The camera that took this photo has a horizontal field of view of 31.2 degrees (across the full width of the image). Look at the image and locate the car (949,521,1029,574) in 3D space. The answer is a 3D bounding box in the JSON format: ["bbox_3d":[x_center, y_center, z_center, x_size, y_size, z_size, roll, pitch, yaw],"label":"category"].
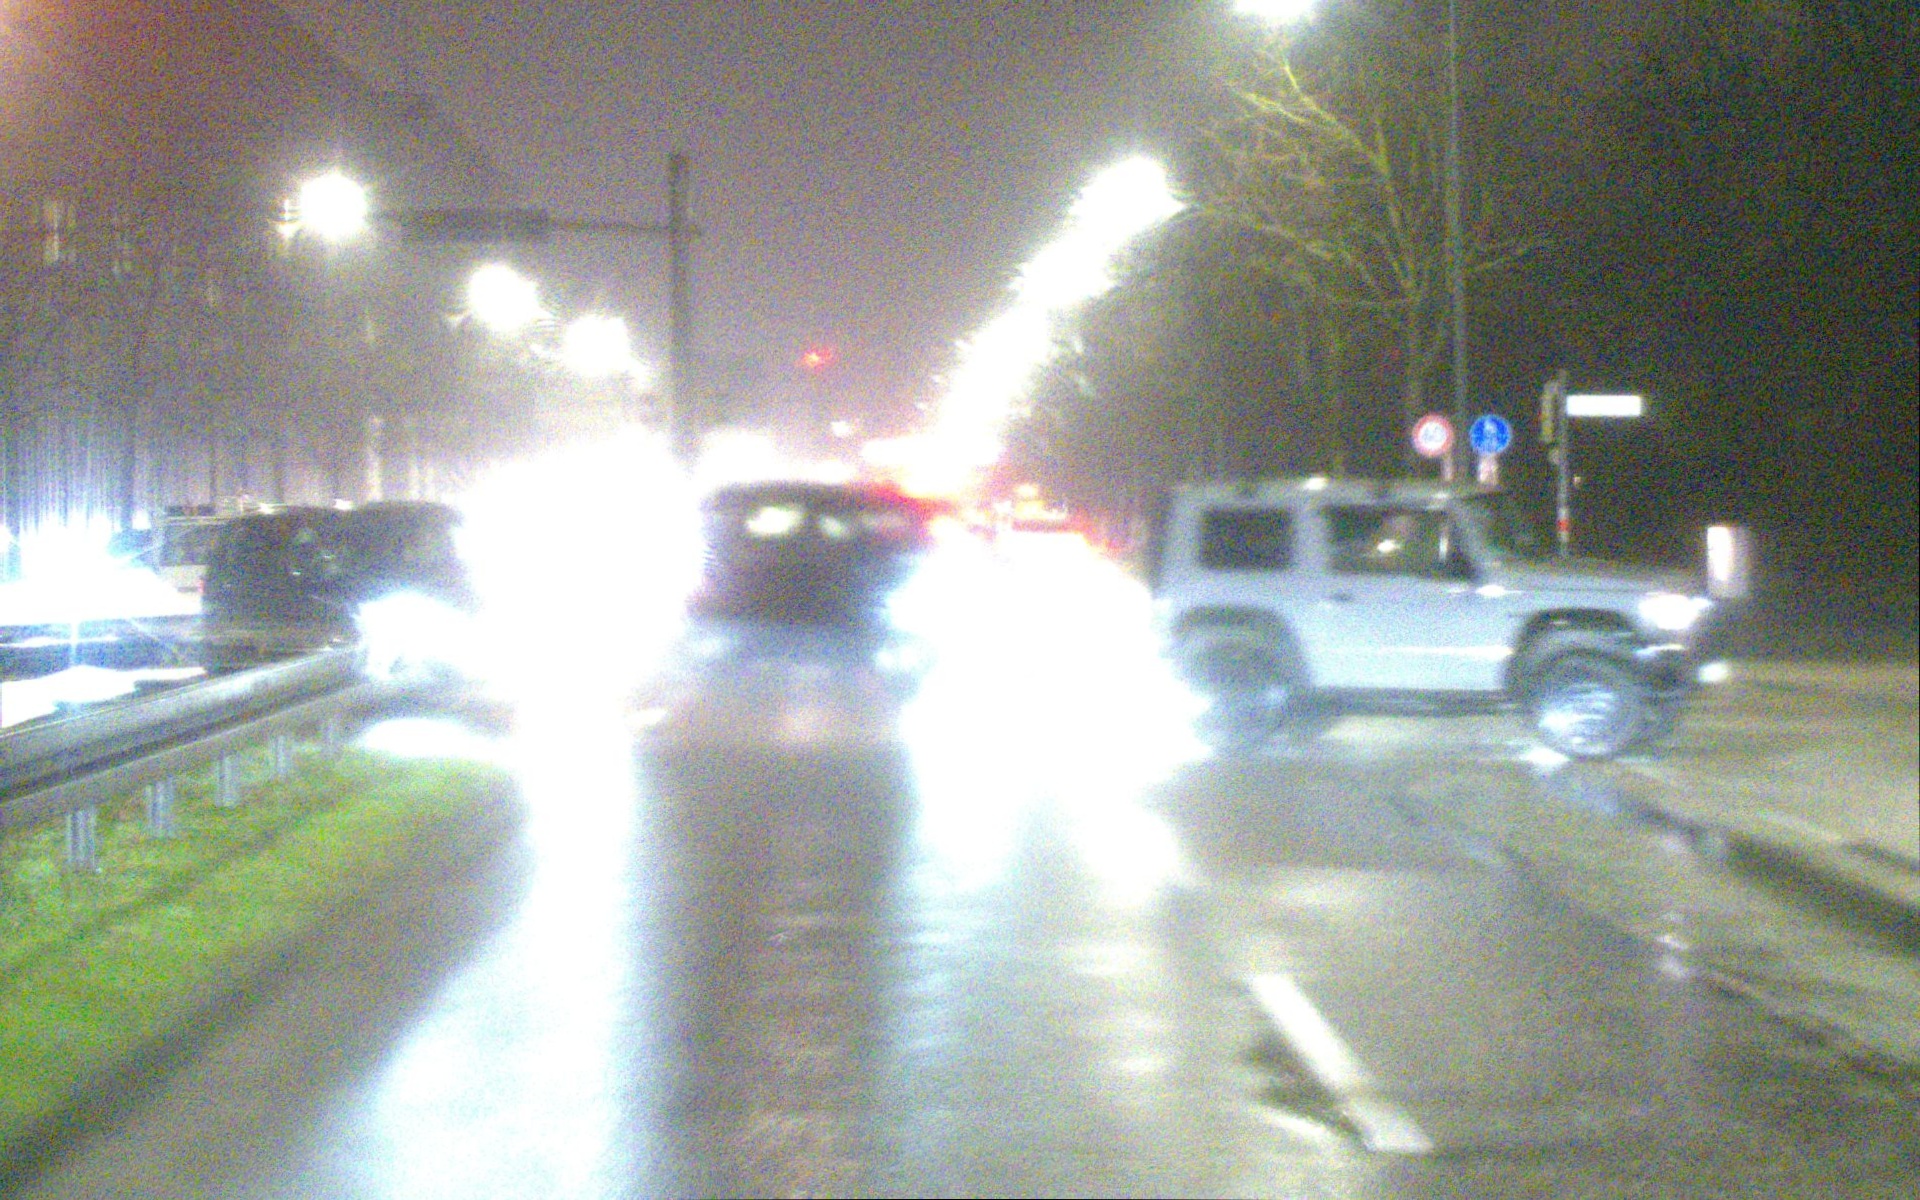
[{"bbox_3d":[0.839,-1.572,103.096,2.091,1.540,4.307,0,0,-3],"label":"car"}]

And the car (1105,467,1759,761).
[{"bbox_3d":[2.985,0.064,21.768,3.757,1.728,1.720,1,0,26],"label":"car"}]

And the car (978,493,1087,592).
[{"bbox_3d":[1.566,-1.194,72.634,2.038,2.007,4.306,0,0,4],"label":"car"}]

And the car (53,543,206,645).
[{"bbox_3d":[-12.785,-0.101,53.106,1.698,1.511,3.568,0,0,-4],"label":"car"}]

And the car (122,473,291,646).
[{"bbox_3d":[-9.136,-0.484,41.899,1.698,2.007,3.568,0,0,-7],"label":"car"}]

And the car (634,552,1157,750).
[{"bbox_3d":[-0.627,0.394,30.265,4.510,1.612,1.903,1,0,42],"label":"car"}]

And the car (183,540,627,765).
[{"bbox_3d":[-4.584,0.368,27.861,1.952,1.667,4.417,0,0,-32],"label":"car"}]

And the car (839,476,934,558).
[{"bbox_3d":[-2.072,-2.271,95.320,2.441,2.186,5.079,0,0,-3],"label":"car"}]
